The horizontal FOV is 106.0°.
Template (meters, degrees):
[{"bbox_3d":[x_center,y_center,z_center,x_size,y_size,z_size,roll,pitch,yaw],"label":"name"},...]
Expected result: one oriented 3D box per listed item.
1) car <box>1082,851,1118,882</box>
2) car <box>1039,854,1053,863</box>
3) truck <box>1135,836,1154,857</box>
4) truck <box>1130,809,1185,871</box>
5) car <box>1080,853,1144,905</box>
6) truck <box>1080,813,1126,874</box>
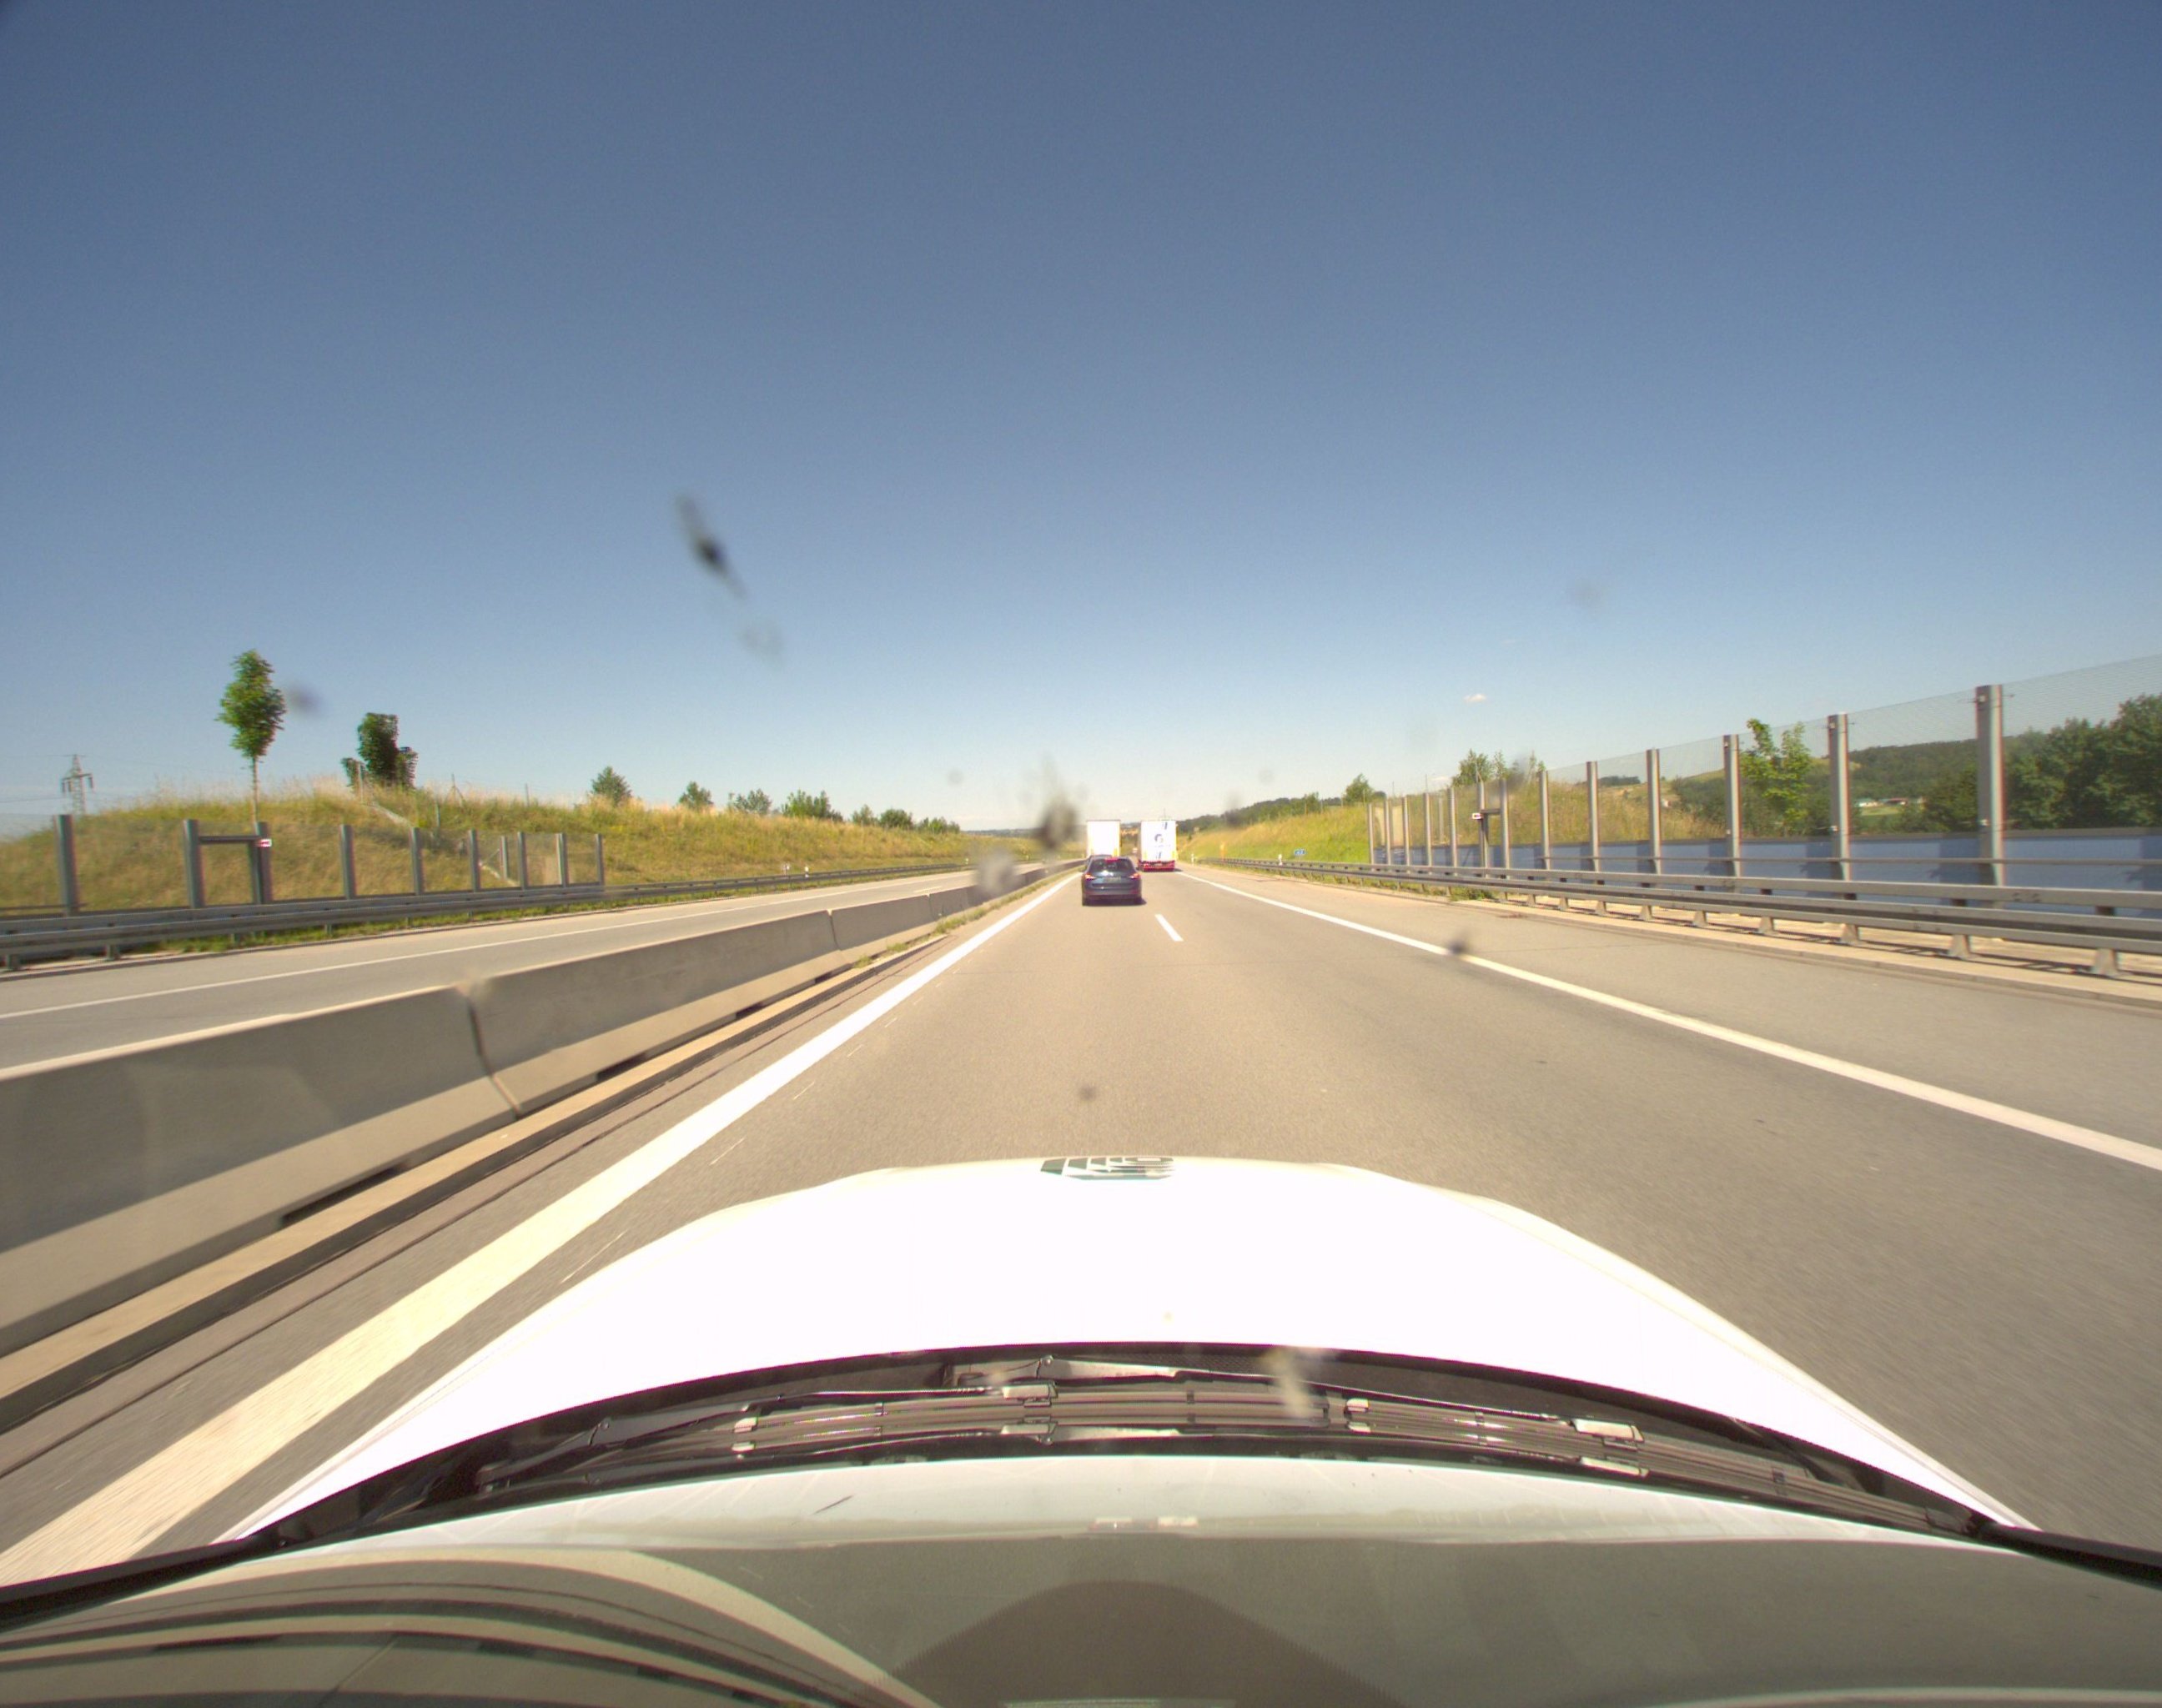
[{"bbox_3d":[0.972,0.643,43.725,1.695,1.441,3.997,-4,0,-2],"label":"car"},{"bbox_3d":[-5.569,0.719,130.585,1.739,1.356,4.002,-4,0,2],"label":"car"},{"bbox_3d":[14.176,-1.671,183.546,3.590,4.381,11.239,-4,0,2],"label":"truck"},{"bbox_3d":[6.012,-1.087,66.056,3.590,4.381,11.239,-4,0,2],"label":"truck"},{"bbox_3d":[0.909,0.723,25.079,1.771,1.441,3.789,-1,0,1],"label":"car"},{"bbox_3d":[1.890,-0.833,67.074,3.198,4.381,11.240,-4,0,2],"label":"truck"}]
